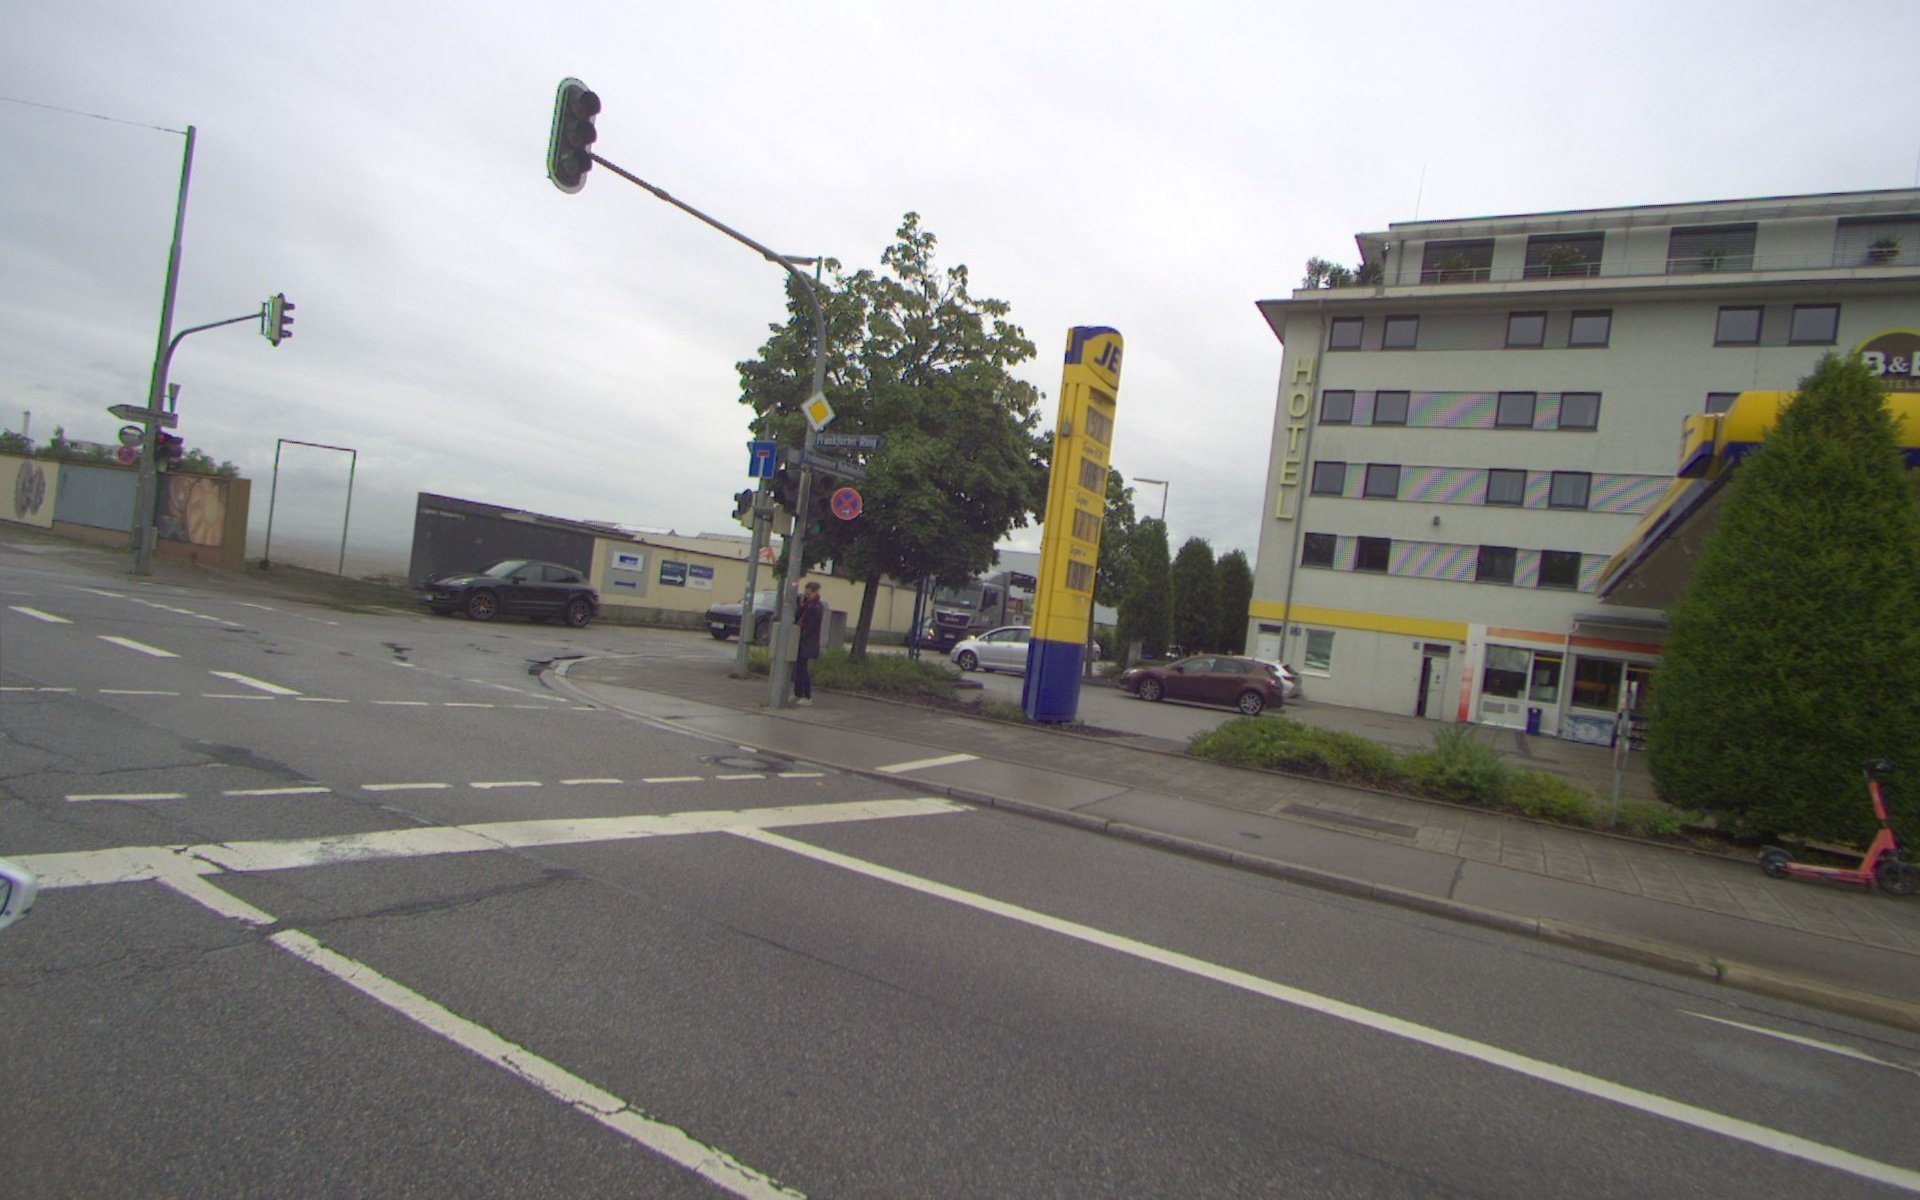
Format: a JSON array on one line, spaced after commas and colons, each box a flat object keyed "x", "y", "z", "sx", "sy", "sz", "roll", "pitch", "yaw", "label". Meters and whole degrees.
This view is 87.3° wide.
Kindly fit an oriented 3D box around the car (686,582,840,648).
[{"x": -6.042, "y": 0.522, "z": 31.414, "sx": 1.967, "sy": 1.551, "sz": 4.624, "roll": 7, "pitch": -1, "yaw": 32, "label": "car"}]

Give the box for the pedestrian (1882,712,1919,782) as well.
[{"x": 25.158, "y": 3.909, "z": 26.731, "sx": 0.632, "sy": 1.749, "sz": 0.709, "roll": 8, "pitch": -1, "yaw": 25, "label": "pedestrian"}]

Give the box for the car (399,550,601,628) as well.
[{"x": -11.740, "y": -0.236, "z": 25.939, "sx": 1.967, "sy": 1.445, "sz": 4.256, "roll": 7, "pitch": -1, "yaw": 32, "label": "car"}]

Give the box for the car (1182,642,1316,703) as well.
[{"x": 10.254, "y": 2.580, "z": 35.702, "sx": 4.121, "sy": 1.495, "sz": 1.908, "roll": 7, "pitch": -2, "yaw": 29, "label": "car"}]

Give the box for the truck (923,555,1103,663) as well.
[{"x": 2.832, "y": 0.650, "z": 46.317, "sx": 2.566, "sy": 3.902, "sz": 11.914, "roll": 7, "pitch": -1, "yaw": 32, "label": "truck"}]

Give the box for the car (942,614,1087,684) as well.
[{"x": 1.646, "y": 1.479, "z": 30.539, "sx": 3.908, "sy": 1.503, "sz": 1.628, "roll": 7, "pitch": -2, "yaw": 27, "label": "car"}]

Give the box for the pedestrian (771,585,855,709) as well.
[{"x": -2.062, "y": 0.652, "z": 14.196, "sx": 0.675, "sy": 1.636, "sz": 0.803, "roll": 7, "pitch": 2, "yaw": 28, "label": "pedestrian"}]

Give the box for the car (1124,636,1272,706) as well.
[{"x": 7.195, "y": 2.139, "z": 30.475, "sx": 3.911, "sy": 1.503, "sz": 1.627, "roll": 7, "pitch": -2, "yaw": 31, "label": "car"}]

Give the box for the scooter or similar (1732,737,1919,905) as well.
[{"x": 8.295, "y": 2.054, "z": 9.432, "sx": 1.520, "sy": 1.259, "sz": 0.355, "roll": 7, "pitch": 3, "yaw": 34, "label": "scooter or similar"}]

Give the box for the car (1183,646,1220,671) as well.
[{"x": 21.011, "y": 5.064, "z": 87.370, "sx": 1.841, "sy": 1.725, "sz": 4.100, "roll": 7, "pitch": -2, "yaw": 30, "label": "car"}]

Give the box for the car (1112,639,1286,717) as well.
[{"x": 6.432, "y": 2.076, "z": 27.051, "sx": 4.282, "sy": 1.400, "sz": 1.705, "roll": 8, "pitch": -2, "yaw": 19, "label": "car"}]

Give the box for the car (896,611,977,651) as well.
[{"x": -1.042, "y": 1.481, "z": 47.189, "sx": 1.735, "sy": 1.493, "sz": 3.992, "roll": 7, "pitch": -1, "yaw": 32, "label": "car"}]
